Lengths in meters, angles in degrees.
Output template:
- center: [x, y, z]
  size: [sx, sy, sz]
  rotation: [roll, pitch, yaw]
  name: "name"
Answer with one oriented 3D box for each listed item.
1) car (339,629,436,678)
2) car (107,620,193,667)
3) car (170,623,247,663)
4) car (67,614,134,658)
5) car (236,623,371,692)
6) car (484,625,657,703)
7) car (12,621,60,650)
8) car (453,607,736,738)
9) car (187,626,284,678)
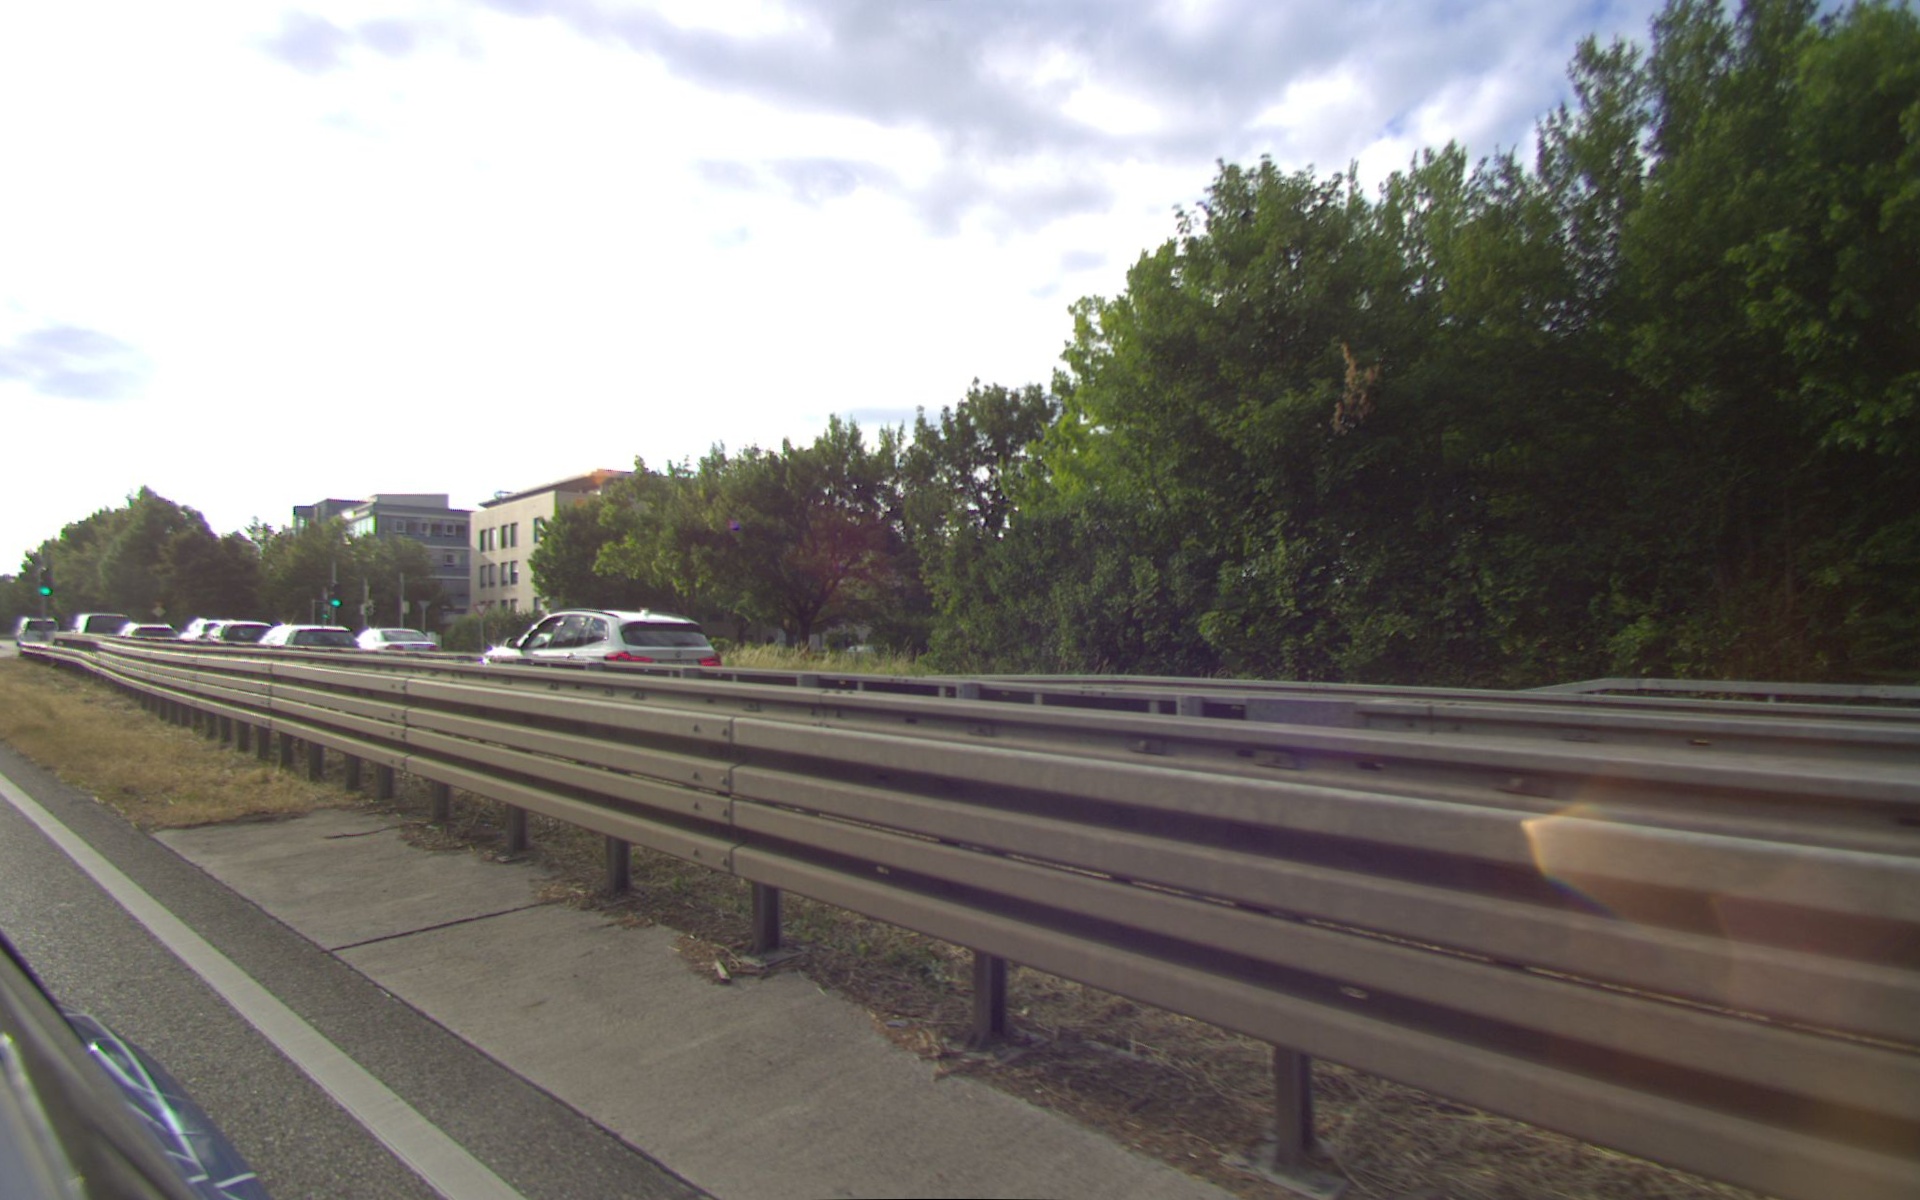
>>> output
- center: [-16.900, 1.538, 29.850]
  size: [3.307, 1.364, 1.415]
  rotation: [-1, -2, 40]
  name: "car"
- center: [-29.698, 1.550, 37.055]
  size: [4.553, 1.601, 1.694]
  rotation: [-1, -2, 42]
  name: "car"
- center: [-34.878, 1.971, 46.916]
  size: [4.846, 1.763, 2.011]
  rotation: [-1, -4, 43]
  name: "car"
- center: [-40.473, 1.674, 47.617]
  size: [5.051, 1.931, 1.877]
  rotation: [-1, 0, 43]
  name: "car"
- center: [-15.334, 1.276, 23.574]
  size: [3.733, 1.478, 1.700]
  rotation: [-1, -2, 42]
  name: "car"
- center: [-8.646, 1.326, 22.292]
  size: [4.397, 1.548, 1.815]
  rotation: [-1, -2, 43]
  name: "car"
- center: [-62.788, 2.384, 68.743]
  size: [5.346, 1.886, 1.914]
  rotation: [-1, -2, 42]
  name: "car"
- center: [-5.415, 0.936, 14.642]
  size: [4.789, 1.596, 1.803]
  rotation: [-1, -2, 42]
  name: "car"
- center: [-21.013, 1.483, 29.310]
  size: [3.461, 1.370, 1.539]
  rotation: [-2, -1, 42]
  name: "car"
